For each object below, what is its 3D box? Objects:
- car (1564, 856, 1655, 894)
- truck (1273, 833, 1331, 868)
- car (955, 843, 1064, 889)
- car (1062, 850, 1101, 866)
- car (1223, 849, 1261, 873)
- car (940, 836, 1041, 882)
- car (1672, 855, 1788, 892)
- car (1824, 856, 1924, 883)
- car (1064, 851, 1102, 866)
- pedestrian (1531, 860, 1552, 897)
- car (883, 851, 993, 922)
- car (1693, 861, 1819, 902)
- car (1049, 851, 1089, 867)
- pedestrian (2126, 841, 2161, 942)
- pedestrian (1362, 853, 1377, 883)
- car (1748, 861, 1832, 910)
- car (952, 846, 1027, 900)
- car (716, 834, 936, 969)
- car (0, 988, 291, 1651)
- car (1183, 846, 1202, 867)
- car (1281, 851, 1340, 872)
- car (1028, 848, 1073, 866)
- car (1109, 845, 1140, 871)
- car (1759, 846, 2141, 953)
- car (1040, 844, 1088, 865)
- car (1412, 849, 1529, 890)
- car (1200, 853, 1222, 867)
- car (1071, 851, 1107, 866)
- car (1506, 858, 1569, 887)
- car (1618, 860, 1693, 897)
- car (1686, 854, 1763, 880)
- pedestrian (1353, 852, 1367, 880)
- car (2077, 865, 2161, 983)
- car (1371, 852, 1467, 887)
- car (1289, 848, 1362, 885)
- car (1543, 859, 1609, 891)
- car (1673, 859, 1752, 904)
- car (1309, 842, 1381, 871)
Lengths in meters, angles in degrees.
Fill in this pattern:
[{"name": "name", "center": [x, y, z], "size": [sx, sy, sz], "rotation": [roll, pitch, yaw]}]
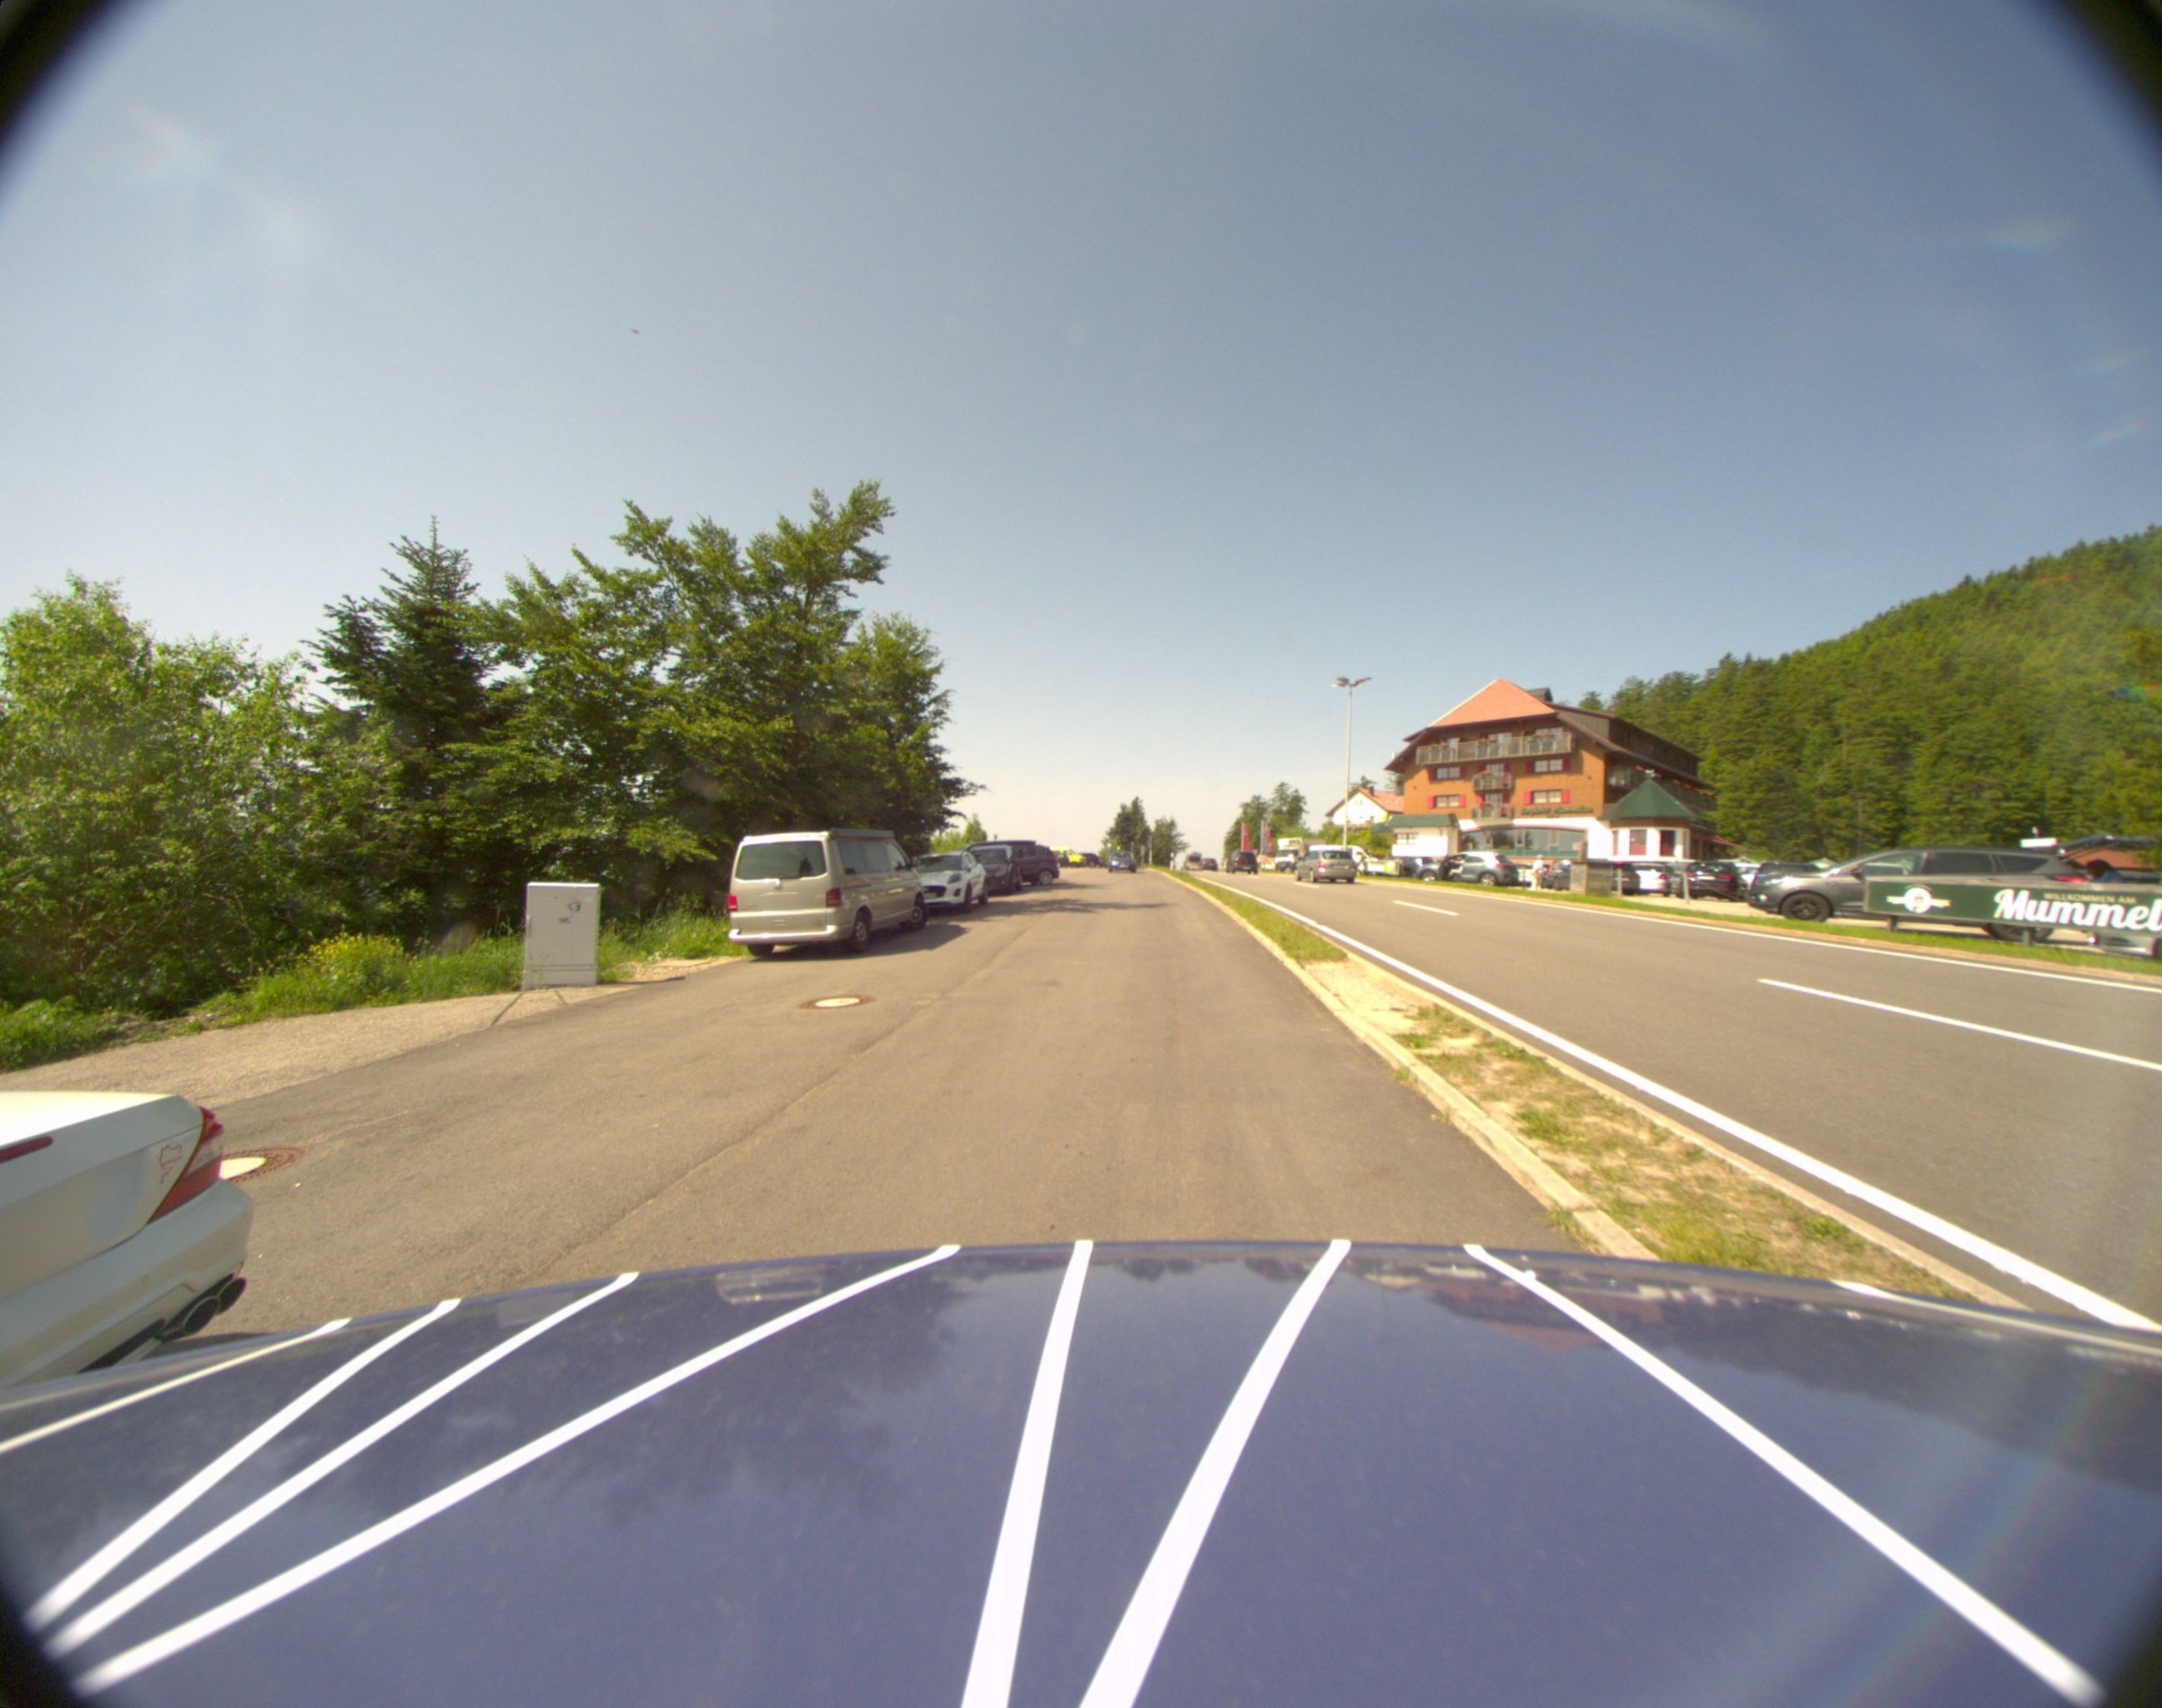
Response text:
[{"name": "car", "center": [21.953, 0.825, 31.743], "size": [1.719, 1.422, 4.004], "rotation": [2, 1, 14]}, {"name": "truck", "center": [25.328, -0.333, 86.727], "size": [2.876, 3.798, 9.037], "rotation": [-1, 0, 41]}, {"name": "car", "center": [-2.872, 0.459, 30.448], "size": [4.002, 1.609, 1.874], "rotation": [-3, 1, -16]}, {"name": "car", "center": [0.110, 0.404, 80.168], "size": [3.908, 1.605, 1.877], "rotation": [1, 1, 5]}, {"name": "car", "center": [11.563, 0.467, 54.862], "size": [1.998, 1.638, 4.567], "rotation": [1, 1, 3]}, {"name": "car", "center": [-4.362, 0.208, 36.448], "size": [4.463, 1.914, 1.874], "rotation": [-3, 1, -16]}, {"name": "car", "center": [31.630, 0.907, 37.110], "size": [1.828, 1.619, 4.082], "rotation": [0, 2, -44]}, {"name": "car", "center": [56.599, 1.052, 54.302], "size": [1.924, 1.706, 4.831], "rotation": [0, 1, -43]}, {"name": "car", "center": [0.244, 0.473, 82.777], "size": [3.908, 1.605, 1.877], "rotation": [1, 1, 5]}, {"name": "pedestrian", "center": [20.738, 1.073, 34.220], "size": [0.744, 1.615, 0.684], "rotation": [2, 2, 33]}, {"name": "car", "center": [-3.584, 0.756, 19.776], "size": [1.875, 1.538, 4.000], "rotation": [-3, 1, 2]}, {"name": "car", "center": [30.408, 1.177, 34.313], "size": [1.828, 1.619, 4.082], "rotation": [0, 2, -44]}, {"name": "car", "center": [-1.202, 0.504, 77.402], "size": [3.908, 1.605, 1.877], "rotation": [1, 1, 5]}, {"name": "pedestrian", "center": [17.927, 0.616, 12.451], "size": [0.744, 1.626, 0.849], "rotation": [2, 2, 43]}, {"name": "pedestrian", "center": [19.346, 0.906, 50.970], "size": [0.717, 2.002, 0.803], "rotation": [0, 1, 2]}, {"name": "car", "center": [26.195, 1.100, 28.041], "size": [4.103, 1.619, 1.818], "rotation": [0, 1, -42]}, {"name": "car", "center": [-3.028, 0.574, 25.941], "size": [1.875, 1.609, 4.000], "rotation": [-3, 1, 2]}, {"name": "car", "center": [-4.230, 0.691, 13.542], "size": [1.861, 1.924, 4.610], "rotation": [-3, 1, 6]}, {"name": "car", "center": [-4.456, 1.158, 1.019], "size": [4.413, 1.288, 1.754], "rotation": [-3, 0, -13]}, {"name": "car", "center": [15.085, 0.274, 102.991], "size": [2.016, 2.735, 5.917], "rotation": [1, 1, 3]}, {"name": "car", "center": [18.360, 0.608, 60.857], "size": [4.082, 1.518, 1.828], "rotation": [2, 1, 42]}, {"name": "car", "center": [-2.843, 0.308, 71.546], "size": [3.908, 1.605, 1.877], "rotation": [1, 1, 5]}, {"name": "car", "center": [2.840, 0.236, 49.682], "size": [1.874, 1.605, 3.913], "rotation": [1, 1, 3]}, {"name": "car", "center": [16.055, 0.724, 14.476], "size": [4.538, 1.646, 1.726], "rotation": [2, 2, 44]}, {"name": "car", "center": [-1.623, 0.055, 74.194], "size": [4.455, 1.914, 1.877], "rotation": [1, 1, 5]}, {"name": "car", "center": [17.387, 0.627, 34.022], "size": [1.828, 1.619, 4.258], "rotation": [0, 2, -44]}, {"name": "car", "center": [13.813, 0.630, 80.825], "size": [1.710, 1.429, 4.449], "rotation": [1, 1, 1]}, {"name": "car", "center": [0.908, 0.546, 86.799], "size": [3.908, 1.605, 1.877], "rotation": [1, 1, 5]}, {"name": "car", "center": [25.462, 0.991, 42.324], "size": [4.103, 1.504, 1.818], "rotation": [1, 1, -42]}, {"name": "car", "center": [25.446, 1.039, 33.594], "size": [4.103, 1.504, 1.818], "rotation": [1, 1, -42]}, {"name": "car", "center": [47.762, 0.950, 56.435], "size": [1.924, 1.706, 4.082], "rotation": [0, 2, -43]}, {"name": "pedestrian", "center": [19.650, 0.835, 53.520], "size": [0.717, 2.002, 0.803], "rotation": [0, 1, 2]}, {"name": "car", "center": [15.013, 0.919, 8.499], "size": [1.726, 1.422, 4.488], "rotation": [0, 1, -43]}, {"name": "car", "center": [17.980, 0.789, 40.502], "size": [1.828, 1.619, 4.258], "rotation": [0, 2, -44]}, {"name": "car", "center": [10.519, 0.481, 33.048], "size": [1.883, 1.466, 4.714], "rotation": [-1, 1, 3]}, {"name": "car", "center": [25.922, 1.059, 39.763], "size": [4.103, 1.504, 1.818], "rotation": [1, 1, -42]}, {"name": "car", "center": [25.529, 1.048, 30.670], "size": [4.103, 1.619, 1.818], "rotation": [0, 1, -42]}, {"name": "car", "center": [27.587, 0.204, 79.396], "size": [6.948, 2.775, 2.671], "rotation": [1, 1, 22]}]
